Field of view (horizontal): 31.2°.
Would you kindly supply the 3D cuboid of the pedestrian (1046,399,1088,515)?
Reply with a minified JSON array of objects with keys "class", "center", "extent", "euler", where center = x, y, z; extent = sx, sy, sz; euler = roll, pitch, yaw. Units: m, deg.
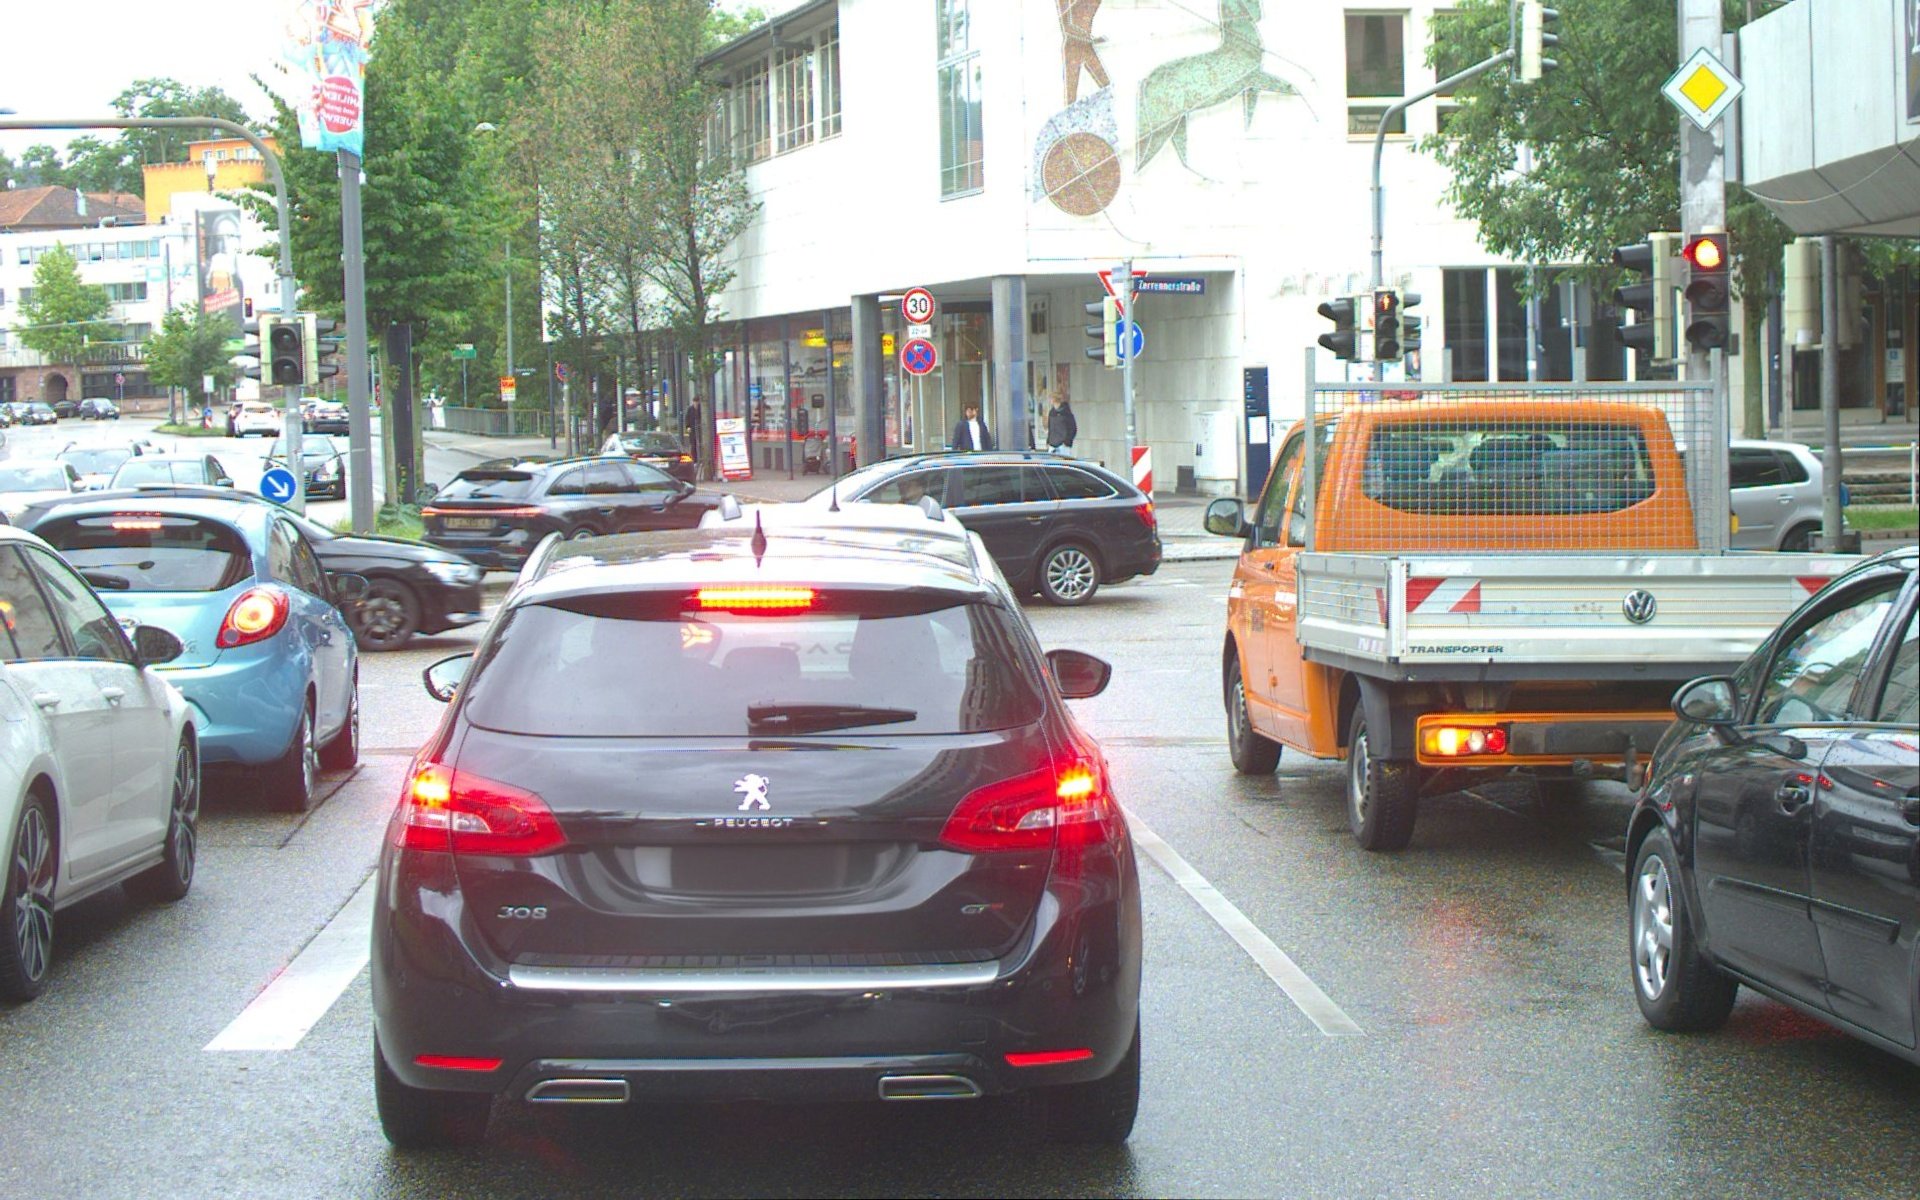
[{"class":"pedestrian","center":[1.777,-2.369,57.158],"extent":[0.637,1.891,0.733],"euler":[0,0,6]}]

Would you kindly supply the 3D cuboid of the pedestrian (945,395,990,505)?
[{"class":"pedestrian","center":[0.120,-2.435,55.888],"extent":[0.637,1.752,0.733],"euler":[0,0,6]}]

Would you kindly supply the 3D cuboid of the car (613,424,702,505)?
[{"class":"car","center":[-6.356,-2.811,71.950],"extent":[1.724,1.485,4.734],"euler":[0,0,-7]}]

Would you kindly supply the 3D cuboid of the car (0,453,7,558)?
[{"class":"car","center":[-14.196,-1.280,46.919],"extent":[1.574,1.481,3.610],"euler":[0,2,-4]}]

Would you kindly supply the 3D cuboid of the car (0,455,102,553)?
[{"class":"car","center":[-14.694,-1.547,54.597],"extent":[1.632,1.481,3.611],"euler":[0,2,-7]}]

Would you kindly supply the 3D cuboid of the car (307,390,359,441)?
[{"class":"car","center":[-26.861,-7.884,147.192],"extent":[1.705,1.929,4.001],"euler":[1,0,-18]}]

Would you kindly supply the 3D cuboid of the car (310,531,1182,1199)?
[{"class":"car","center":[-0.519,0.564,8.975],"extent":[1.777,1.424,3.843],"euler":[0,2,-2]}]

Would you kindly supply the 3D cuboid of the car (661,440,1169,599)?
[{"class":"car","center":[-0.468,-0.786,33.418],"extent":[4.721,1.481,1.639],"euler":[0,2,-10]}]

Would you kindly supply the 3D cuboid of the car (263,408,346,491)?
[{"class":"car","center":[-14.454,-3.294,75.842],"extent":[1.744,1.634,4.001],"euler":[0,0,-11]}]

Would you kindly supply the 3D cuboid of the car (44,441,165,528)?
[{"class":"car","center":[-15.138,-2.064,60.943],"extent":[1.632,1.481,3.611],"euler":[0,2,-7]}]

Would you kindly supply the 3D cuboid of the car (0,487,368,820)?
[{"class":"car","center":[-3.978,0.190,17.479],"extent":[1.632,1.481,3.610],"euler":[0,2,-5]}]

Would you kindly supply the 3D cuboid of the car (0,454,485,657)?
[{"class":"car","center":[-6.188,-0.392,28.877],"extent":[4.226,1.559,1.705],"euler":[-2,2,-11]}]

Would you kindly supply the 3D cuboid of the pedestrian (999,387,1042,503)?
[{"class":"pedestrian","center":[1.003,-2.572,57.114],"extent":[0.637,1.891,0.733],"euler":[0,0,6]}]

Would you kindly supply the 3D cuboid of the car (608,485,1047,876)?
[{"class":"car","center":[-0.544,0.253,15.285],"extent":[1.696,1.481,3.794],"euler":[0,2,-1]}]

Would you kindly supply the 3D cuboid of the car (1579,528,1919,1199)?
[{"class":"car","center":[2.827,0.559,8.650],"extent":[1.616,1.424,3.843],"euler":[0,2,-3]}]

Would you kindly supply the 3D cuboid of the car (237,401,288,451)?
[{"class":"car","center":[-29.628,-7.367,145.966],"extent":[1.705,1.875,4.001],"euler":[1,0,-18]}]

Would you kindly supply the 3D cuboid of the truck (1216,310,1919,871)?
[{"class":"truck","center":[2.582,-0.133,15.876],"extent":[2.177,2.165,5.021],"euler":[0,2,-3]}]

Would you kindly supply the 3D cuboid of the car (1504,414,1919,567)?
[{"class":"car","center":[7.777,-1.105,35.595],"extent":[3.894,1.481,1.624],"euler":[0,0,-12]}]

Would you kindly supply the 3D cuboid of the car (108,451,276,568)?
[{"class":"car","center":[-10.975,-1.265,49.379],"extent":[1.744,1.574,4.000],"euler":[0,0,-4]}]

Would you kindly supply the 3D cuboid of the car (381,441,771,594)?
[{"class":"car","center":[-4.310,-0.970,39.270],"extent":[1.791,1.449,4.498],"euler":[0,5,37]}]

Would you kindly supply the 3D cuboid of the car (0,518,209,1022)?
[{"class":"car","center":[-3.734,0.456,11.460],"extent":[1.777,1.424,3.843],"euler":[0,2,-3]}]
